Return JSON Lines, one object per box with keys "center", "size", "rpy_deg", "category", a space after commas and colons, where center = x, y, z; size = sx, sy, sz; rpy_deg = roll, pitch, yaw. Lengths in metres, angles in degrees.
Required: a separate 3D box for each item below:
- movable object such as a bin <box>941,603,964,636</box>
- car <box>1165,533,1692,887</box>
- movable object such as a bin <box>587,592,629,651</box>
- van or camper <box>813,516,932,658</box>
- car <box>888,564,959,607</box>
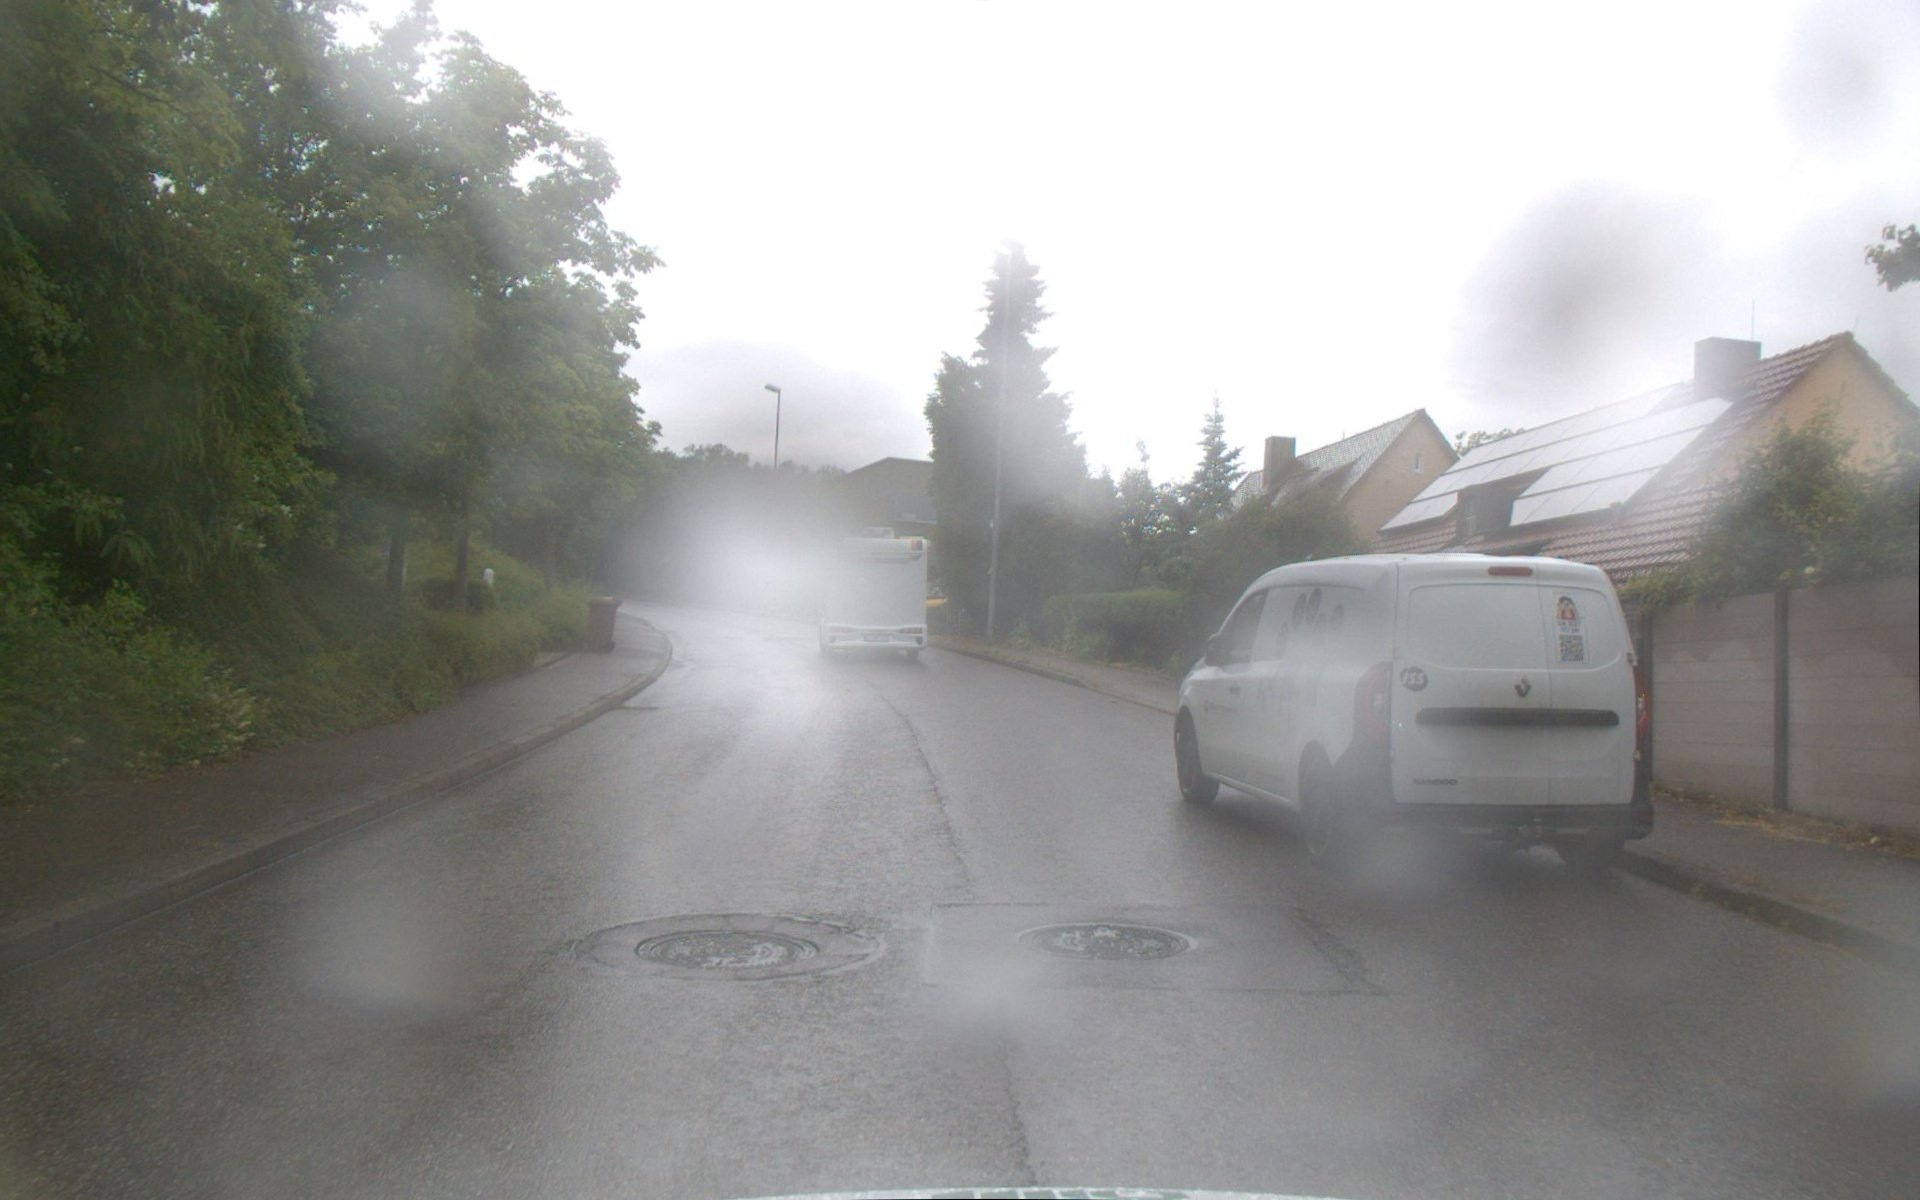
{"center": [-0.237, 0.605, 52.110], "size": [0.496, 0.986, 0.592], "rpy_deg": [5, -1, -16], "category": "movable object such as a bin"}
{"center": [2.761, 0.581, 11.006], "size": [1.744, 1.835, 4.701], "rpy_deg": [1, 0, -6], "category": "car"}
{"center": [-7.297, 0.447, 34.329], "size": [0.681, 1.109, 0.803], "rpy_deg": [4, 4, -5], "category": "movable object such as a bin"}
{"center": [-2.050, -0.277, 38.222], "size": [2.490, 2.976, 5.943], "rpy_deg": [1, 0, -4], "category": "van or camper"}
{"center": [-1.438, -0.566, 63.747], "size": [1.605, 1.519, 3.404], "rpy_deg": [-4, 2, -22], "category": "car"}
